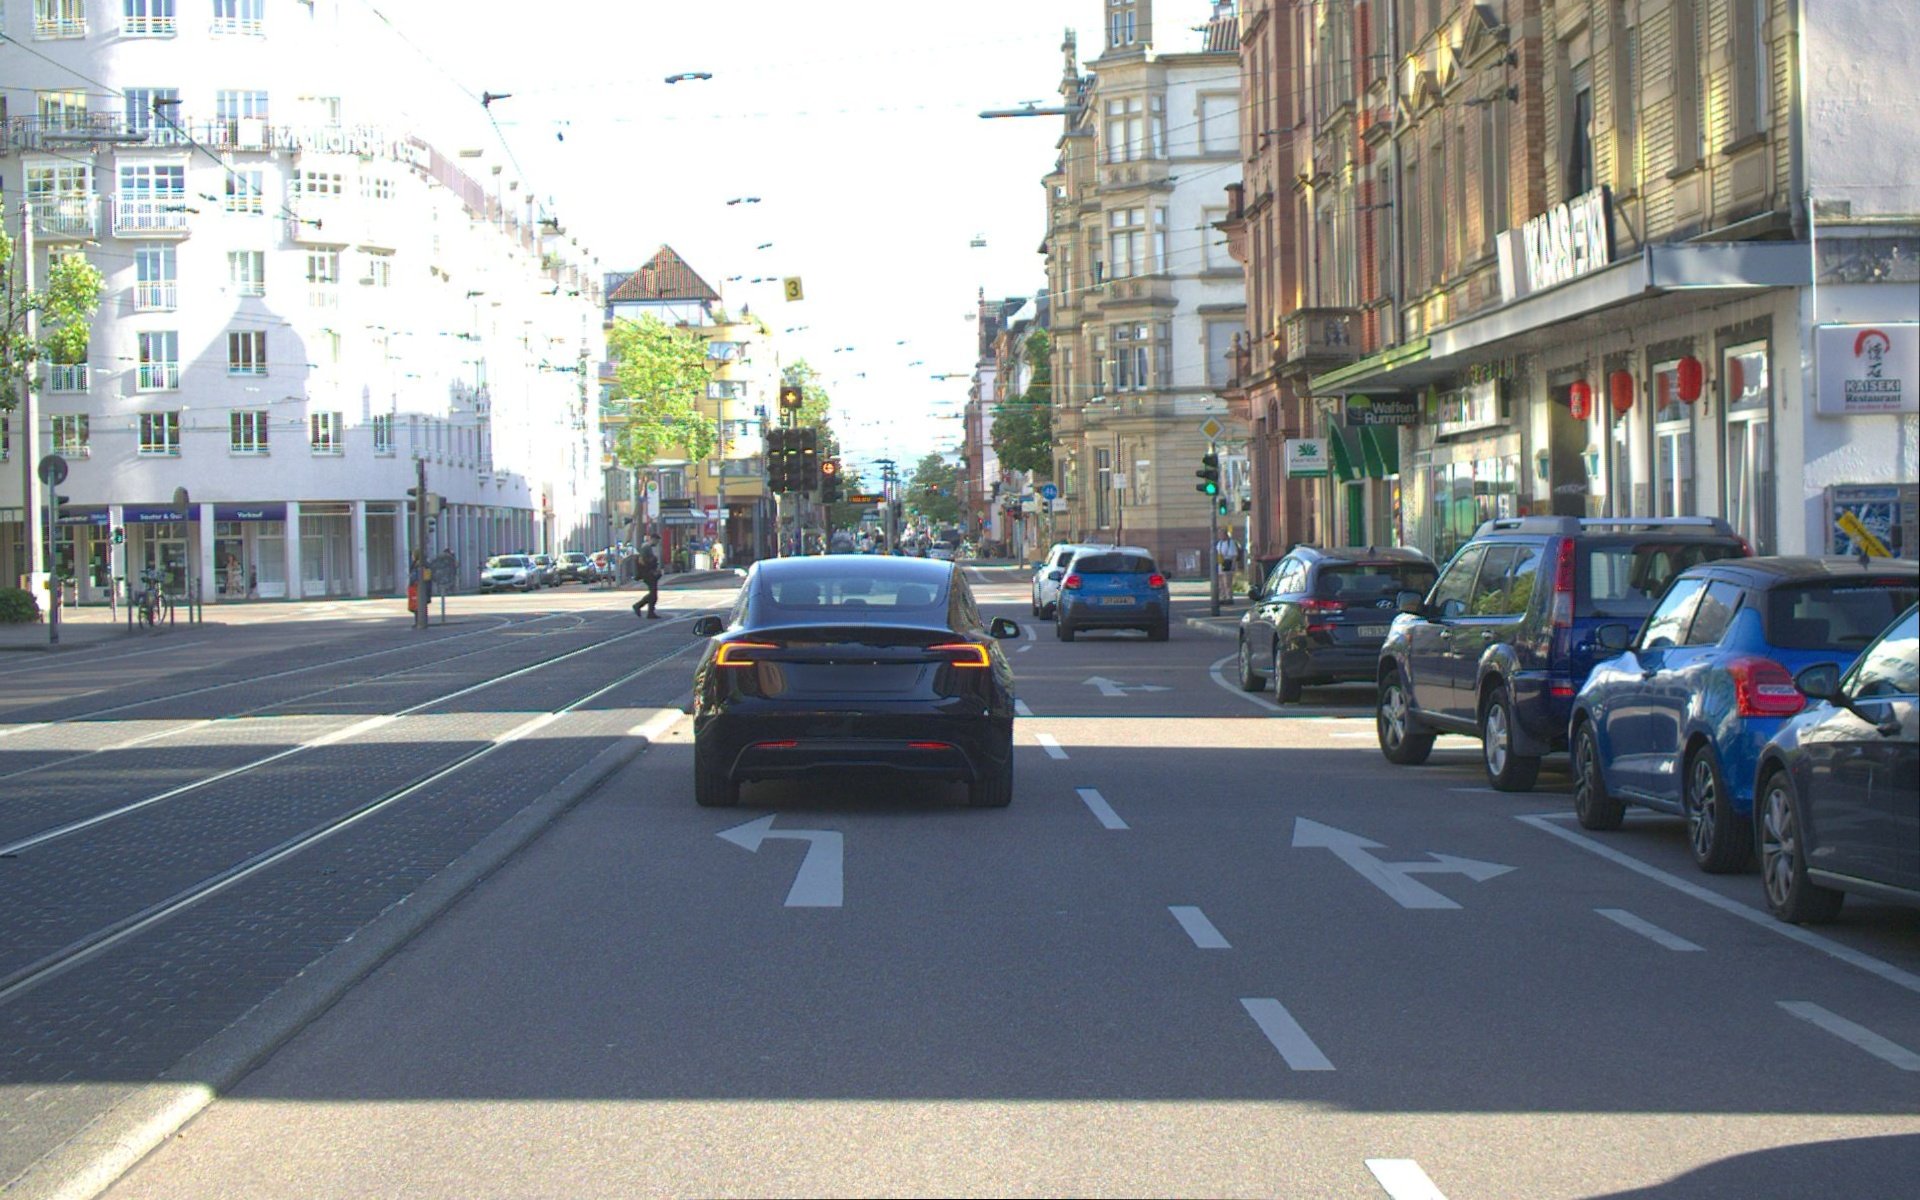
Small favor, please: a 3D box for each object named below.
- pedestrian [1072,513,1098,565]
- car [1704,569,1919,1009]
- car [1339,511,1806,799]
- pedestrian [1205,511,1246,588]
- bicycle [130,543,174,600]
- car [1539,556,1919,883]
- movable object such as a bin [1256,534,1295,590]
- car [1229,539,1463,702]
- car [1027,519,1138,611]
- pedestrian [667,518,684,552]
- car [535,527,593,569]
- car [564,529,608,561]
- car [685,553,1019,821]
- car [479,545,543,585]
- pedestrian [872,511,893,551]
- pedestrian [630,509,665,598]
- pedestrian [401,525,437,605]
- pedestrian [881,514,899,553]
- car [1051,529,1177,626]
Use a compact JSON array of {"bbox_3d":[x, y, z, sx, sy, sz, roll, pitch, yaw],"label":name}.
[{"bbox_3d":[4.302,-2.109,117.995,0.779,1.743,1.093,-1,3,-3],"label":"pedestrian"},{"bbox_3d":[4.082,0.643,12.594,1.698,1.478,4.227,1,1,-1],"label":"car"},{"bbox_3d":[3.928,0.293,22.879,1.690,1.707,4.617,1,1,-8],"label":"car"},{"bbox_3d":[5.611,-1.072,72.692,0.681,1.602,0.731,-1,1,-10],"label":"pedestrian"},{"bbox_3d":[-17.406,-0.628,74.077,0.497,1.182,2.236,-1,1,-2],"label":"bicycle"},{"bbox_3d":[4.155,0.522,17.425,1.713,1.449,3.778,1,1,-1],"label":"car"},{"bbox_3d":[6.221,-0.754,67.761,0.663,1.069,0.591,-4,1,2],"label":"movable object such as a bin"},{"bbox_3d":[3.705,0.153,33.647,1.690,1.446,4.360,1,1,-1],"label":"car"},{"bbox_3d":[2.380,-0.678,67.809,1.993,1.737,4.000,1,0,-1],"label":"car"},{"bbox_3d":[-12.885,-2.967,155.758,0.731,1.522,0.743,0,2,-2],"label":"pedestrian"},{"bbox_3d":[-18.239,-2.403,158.462,2.227,1.904,4.609,-1,1,-2],"label":"car"},{"bbox_3d":[-17.884,-2.635,164.355,1.728,1.509,4.405,-1,1,-2],"label":"car"},{"bbox_3d":[-0.634,0.449,20.926,1.810,1.419,4.154,1,1,-1],"label":"car"},{"bbox_3d":[-17.021,-1.347,130.606,1.993,1.446,4.503,-1,1,-2],"label":"car"},{"bbox_3d":[-3.460,-3.094,153.221,0.718,1.771,0.564,0,2,35],"label":"pedestrian"},{"bbox_3d":[-6.315,-0.946,69.425,0.558,1.757,0.895,-3,1,-1],"label":"pedestrian"},{"bbox_3d":[-10.482,-0.676,66.657,0.500,1.512,0.859,-3,1,-1],"label":"pedestrian"},{"bbox_3d":[-3.029,-2.862,148.132,0.636,1.692,0.933,1,0,7],"label":"pedestrian"},{"bbox_3d":[2.402,-0.387,54.324,1.781,1.446,3.654,1,1,-1],"label":"car"}]
